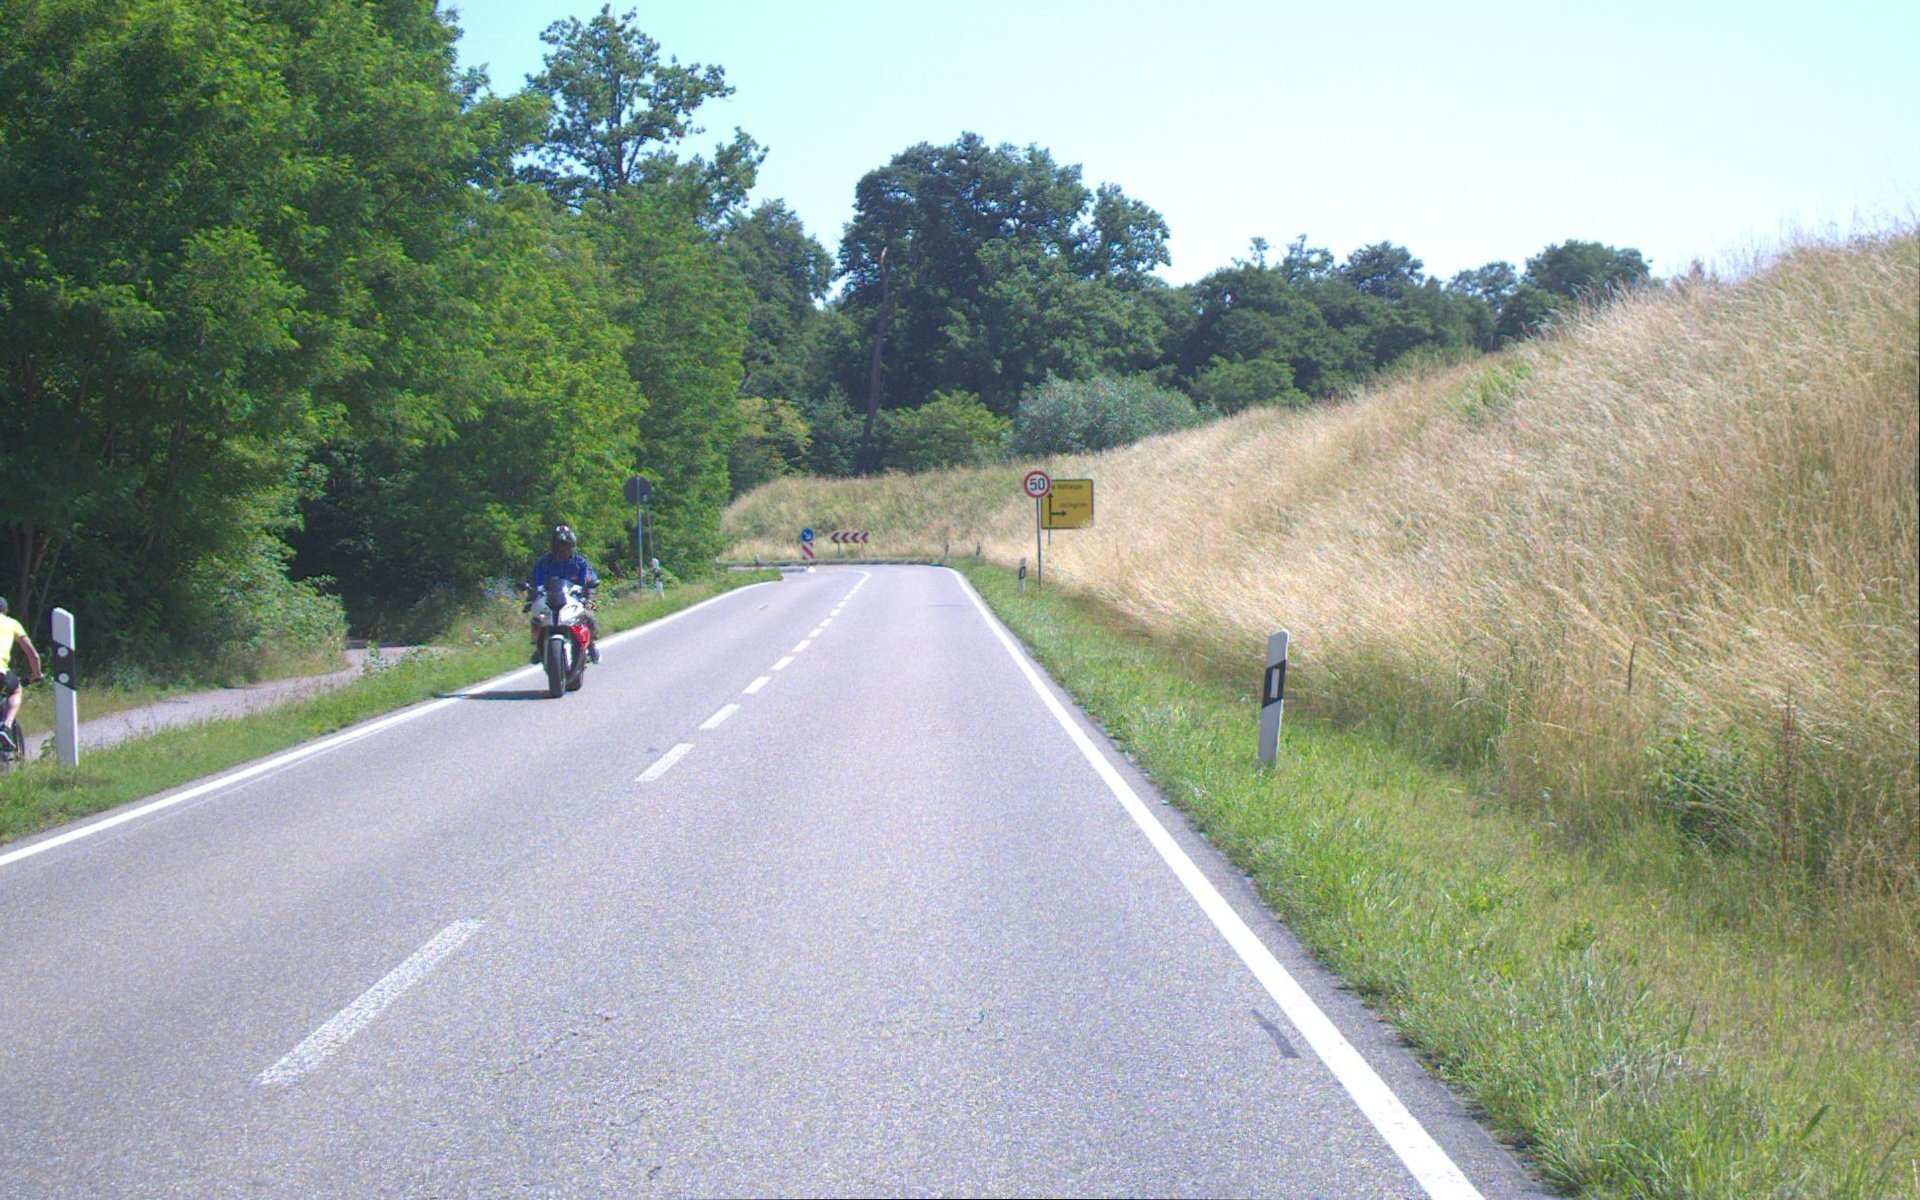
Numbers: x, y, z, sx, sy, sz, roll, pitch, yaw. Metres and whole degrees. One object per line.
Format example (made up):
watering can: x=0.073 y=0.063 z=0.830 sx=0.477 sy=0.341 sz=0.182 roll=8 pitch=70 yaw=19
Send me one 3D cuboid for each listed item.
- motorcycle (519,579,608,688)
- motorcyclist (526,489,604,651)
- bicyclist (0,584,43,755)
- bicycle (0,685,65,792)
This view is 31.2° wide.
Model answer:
motorcycle: x=-3.810 y=0.310 z=33.116 sx=0.639 sy=0.981 sz=2.006 roll=2 pitch=1 yaw=-1
motorcyclist: x=-3.798 y=-0.294 z=33.094 sx=0.659 sy=1.523 sz=0.814 roll=1 pitch=1 yaw=-2
bicyclist: x=-8.172 y=0.586 z=29.060 sx=0.605 sy=1.410 sz=0.703 roll=-2 pitch=1 yaw=-1
bicycle: x=-8.141 y=1.162 z=28.971 sx=0.640 sy=0.785 sz=2.137 roll=-2 pitch=1 yaw=-1
